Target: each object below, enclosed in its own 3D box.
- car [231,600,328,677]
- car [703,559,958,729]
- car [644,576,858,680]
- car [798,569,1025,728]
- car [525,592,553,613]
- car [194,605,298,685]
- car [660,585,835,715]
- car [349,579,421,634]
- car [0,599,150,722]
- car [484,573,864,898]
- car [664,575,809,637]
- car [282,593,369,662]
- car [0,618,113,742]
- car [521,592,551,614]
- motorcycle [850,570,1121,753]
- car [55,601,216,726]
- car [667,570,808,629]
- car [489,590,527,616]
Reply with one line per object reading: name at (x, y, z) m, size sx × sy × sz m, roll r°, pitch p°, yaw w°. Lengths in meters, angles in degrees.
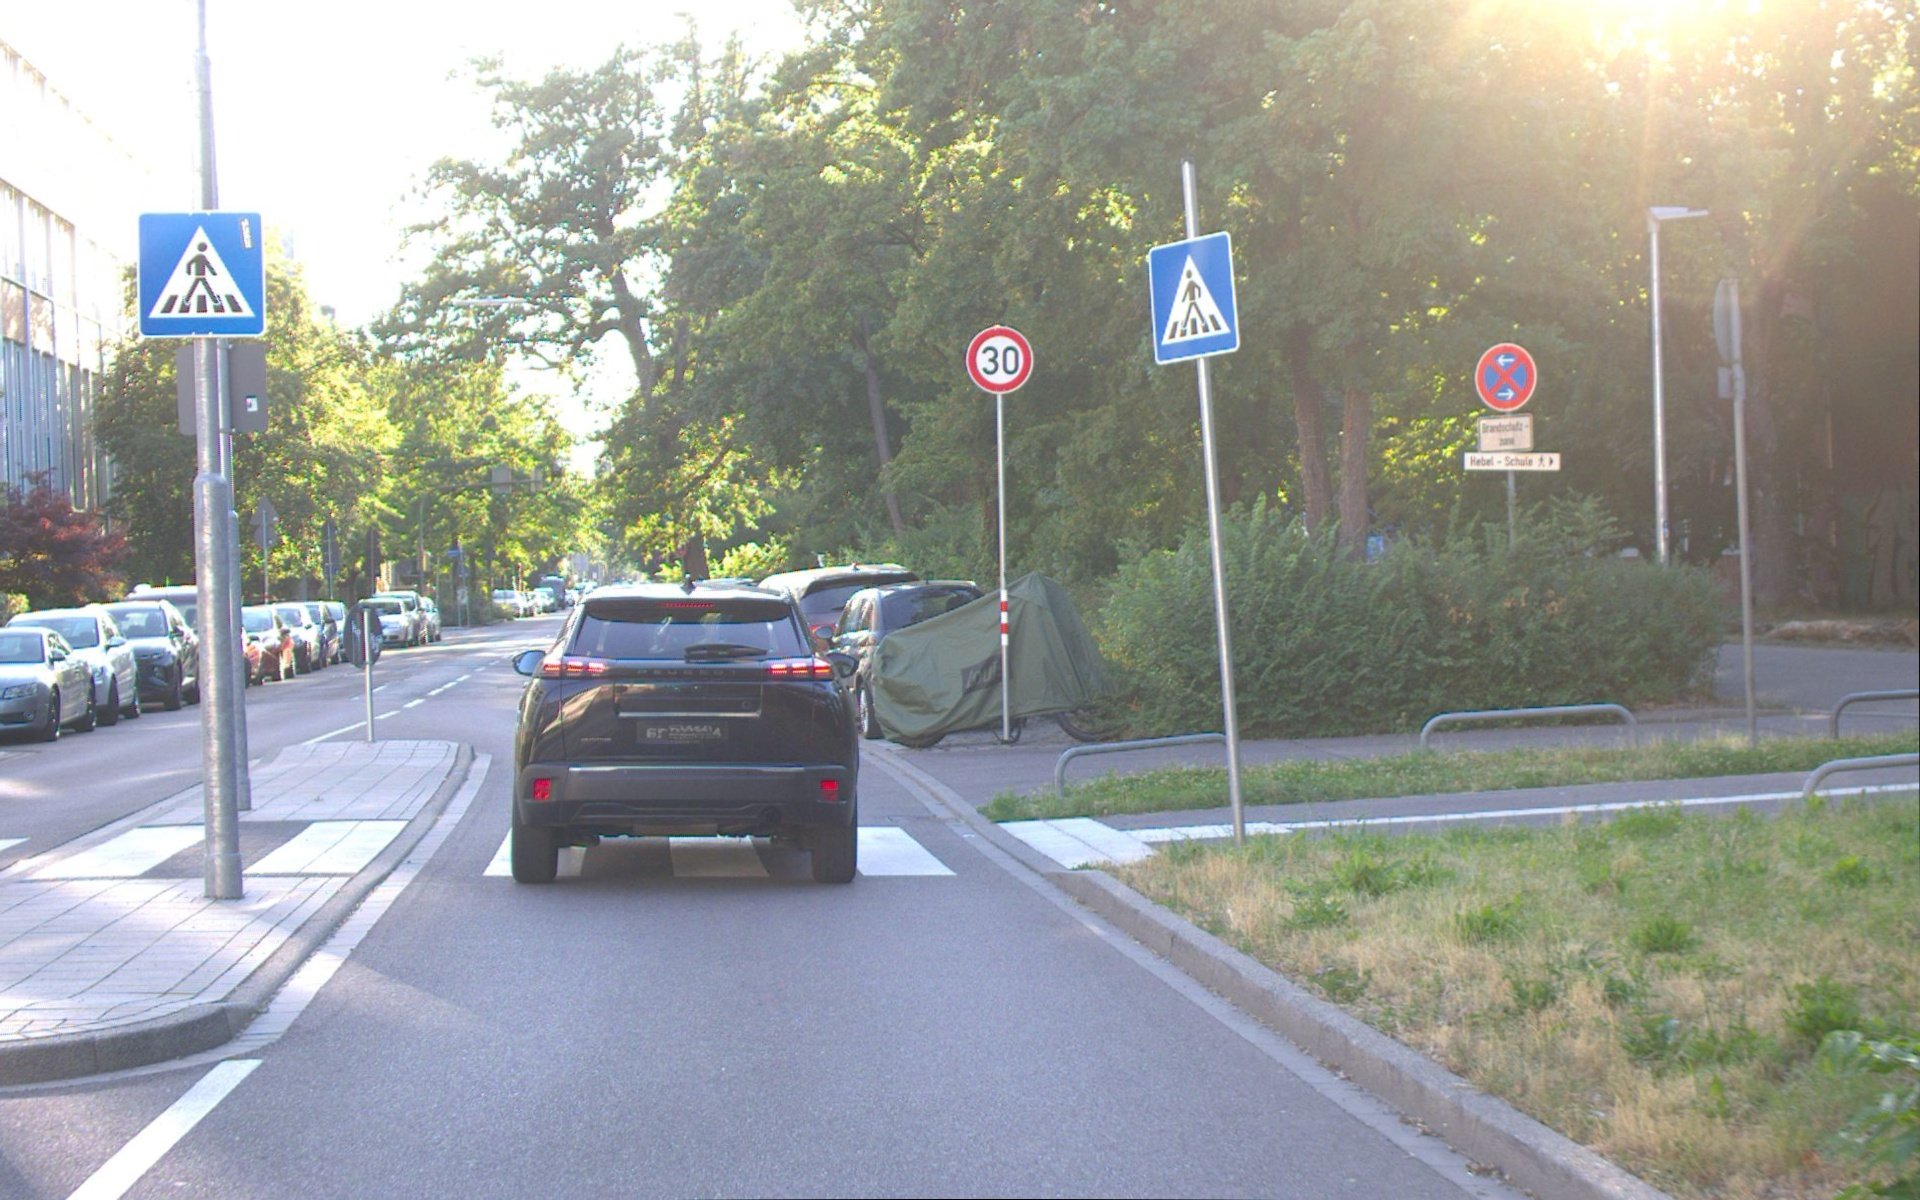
car at (-14.501, 0.805, 73.429) m, size 1.598 × 1.450 × 4.056 m, roll -3°, pitch 1°, yaw -6°
car at (-1.554, 0.476, 39.302) m, size 1.921 × 1.742 × 4.667 m, roll -3°, pitch 0°, yaw -14°
car at (-3.757, 0.482, 61.392) m, size 3.609 × 1.520 × 1.672 m, roll -5°, pitch 1°, yaw -7°
car at (-0.547, 0.469, 35.218) m, size 1.619 × 1.481 × 3.420 m, roll -2°, pitch 0°, yaw -12°
car at (-29.286, 0.164, 239.089) m, size 1.810 × 1.349 × 4.001 m, roll -2°, pitch 1°, yaw -9°
car at (-13.993, 0.858, 67.543) m, size 1.598 × 1.450 × 3.862 m, roll -2°, pitch 0°, yaw -6°
car at (-2.834, 0.622, 45.118) m, size 1.650 × 1.562 × 4.302 m, roll -2°, pitch 0°, yaw -11°
car at (-16.822, 0.177, 100.695) m, size 1.670 × 1.488 × 4.062 m, roll -2°, pitch 1°, yaw -5°
car at (-12.185, 0.790, 46.867) m, size 1.741 × 1.528 × 4.116 m, roll -2°, pitch 0°, yaw -7°
car at (-1.618, 0.643, 18.429) m, size 1.767 × 1.563 × 3.381 m, roll 0°, pitch 0°, yaw -9°
car at (-6.543, 0.173, 100.511) m, size 4.121 × 1.662 × 1.723 m, roll -2°, pitch 0°, yaw -5°
car at (-15.226, 0.646, 82.674) m, size 1.600 × 1.488 × 3.773 m, roll -3°, pitch 1°, yaw -5°
car at (-11.535, 0.955, 41.719) m, size 1.742 × 1.352 × 4.397 m, roll -2°, pitch 0°, yaw -5°
car at (-28.251, 0.204, 229.069) m, size 1.810 × 1.349 × 3.980 m, roll -2°, pitch 1°, yaw -9°
motorcycle at (0.242, 0.544, 30.958) m, size 2.292 × 1.539 × 1.039 m, roll -2°, pitch 0°, yaw 6°
car at (-12.491, 0.924, 52.314) m, size 1.742 × 1.670 × 4.417 m, roll -3°, pitch 1°, yaw -6°
car at (-6.793, -0.027, 105.245) m, size 4.170 × 1.704 × 1.867 m, roll -1°, pitch 0°, yaw -1°
car at (-24.874, 0.168, 189.118) m, size 1.810 × 1.349 × 4.001 m, roll -2°, pitch 1°, yaw -10°
